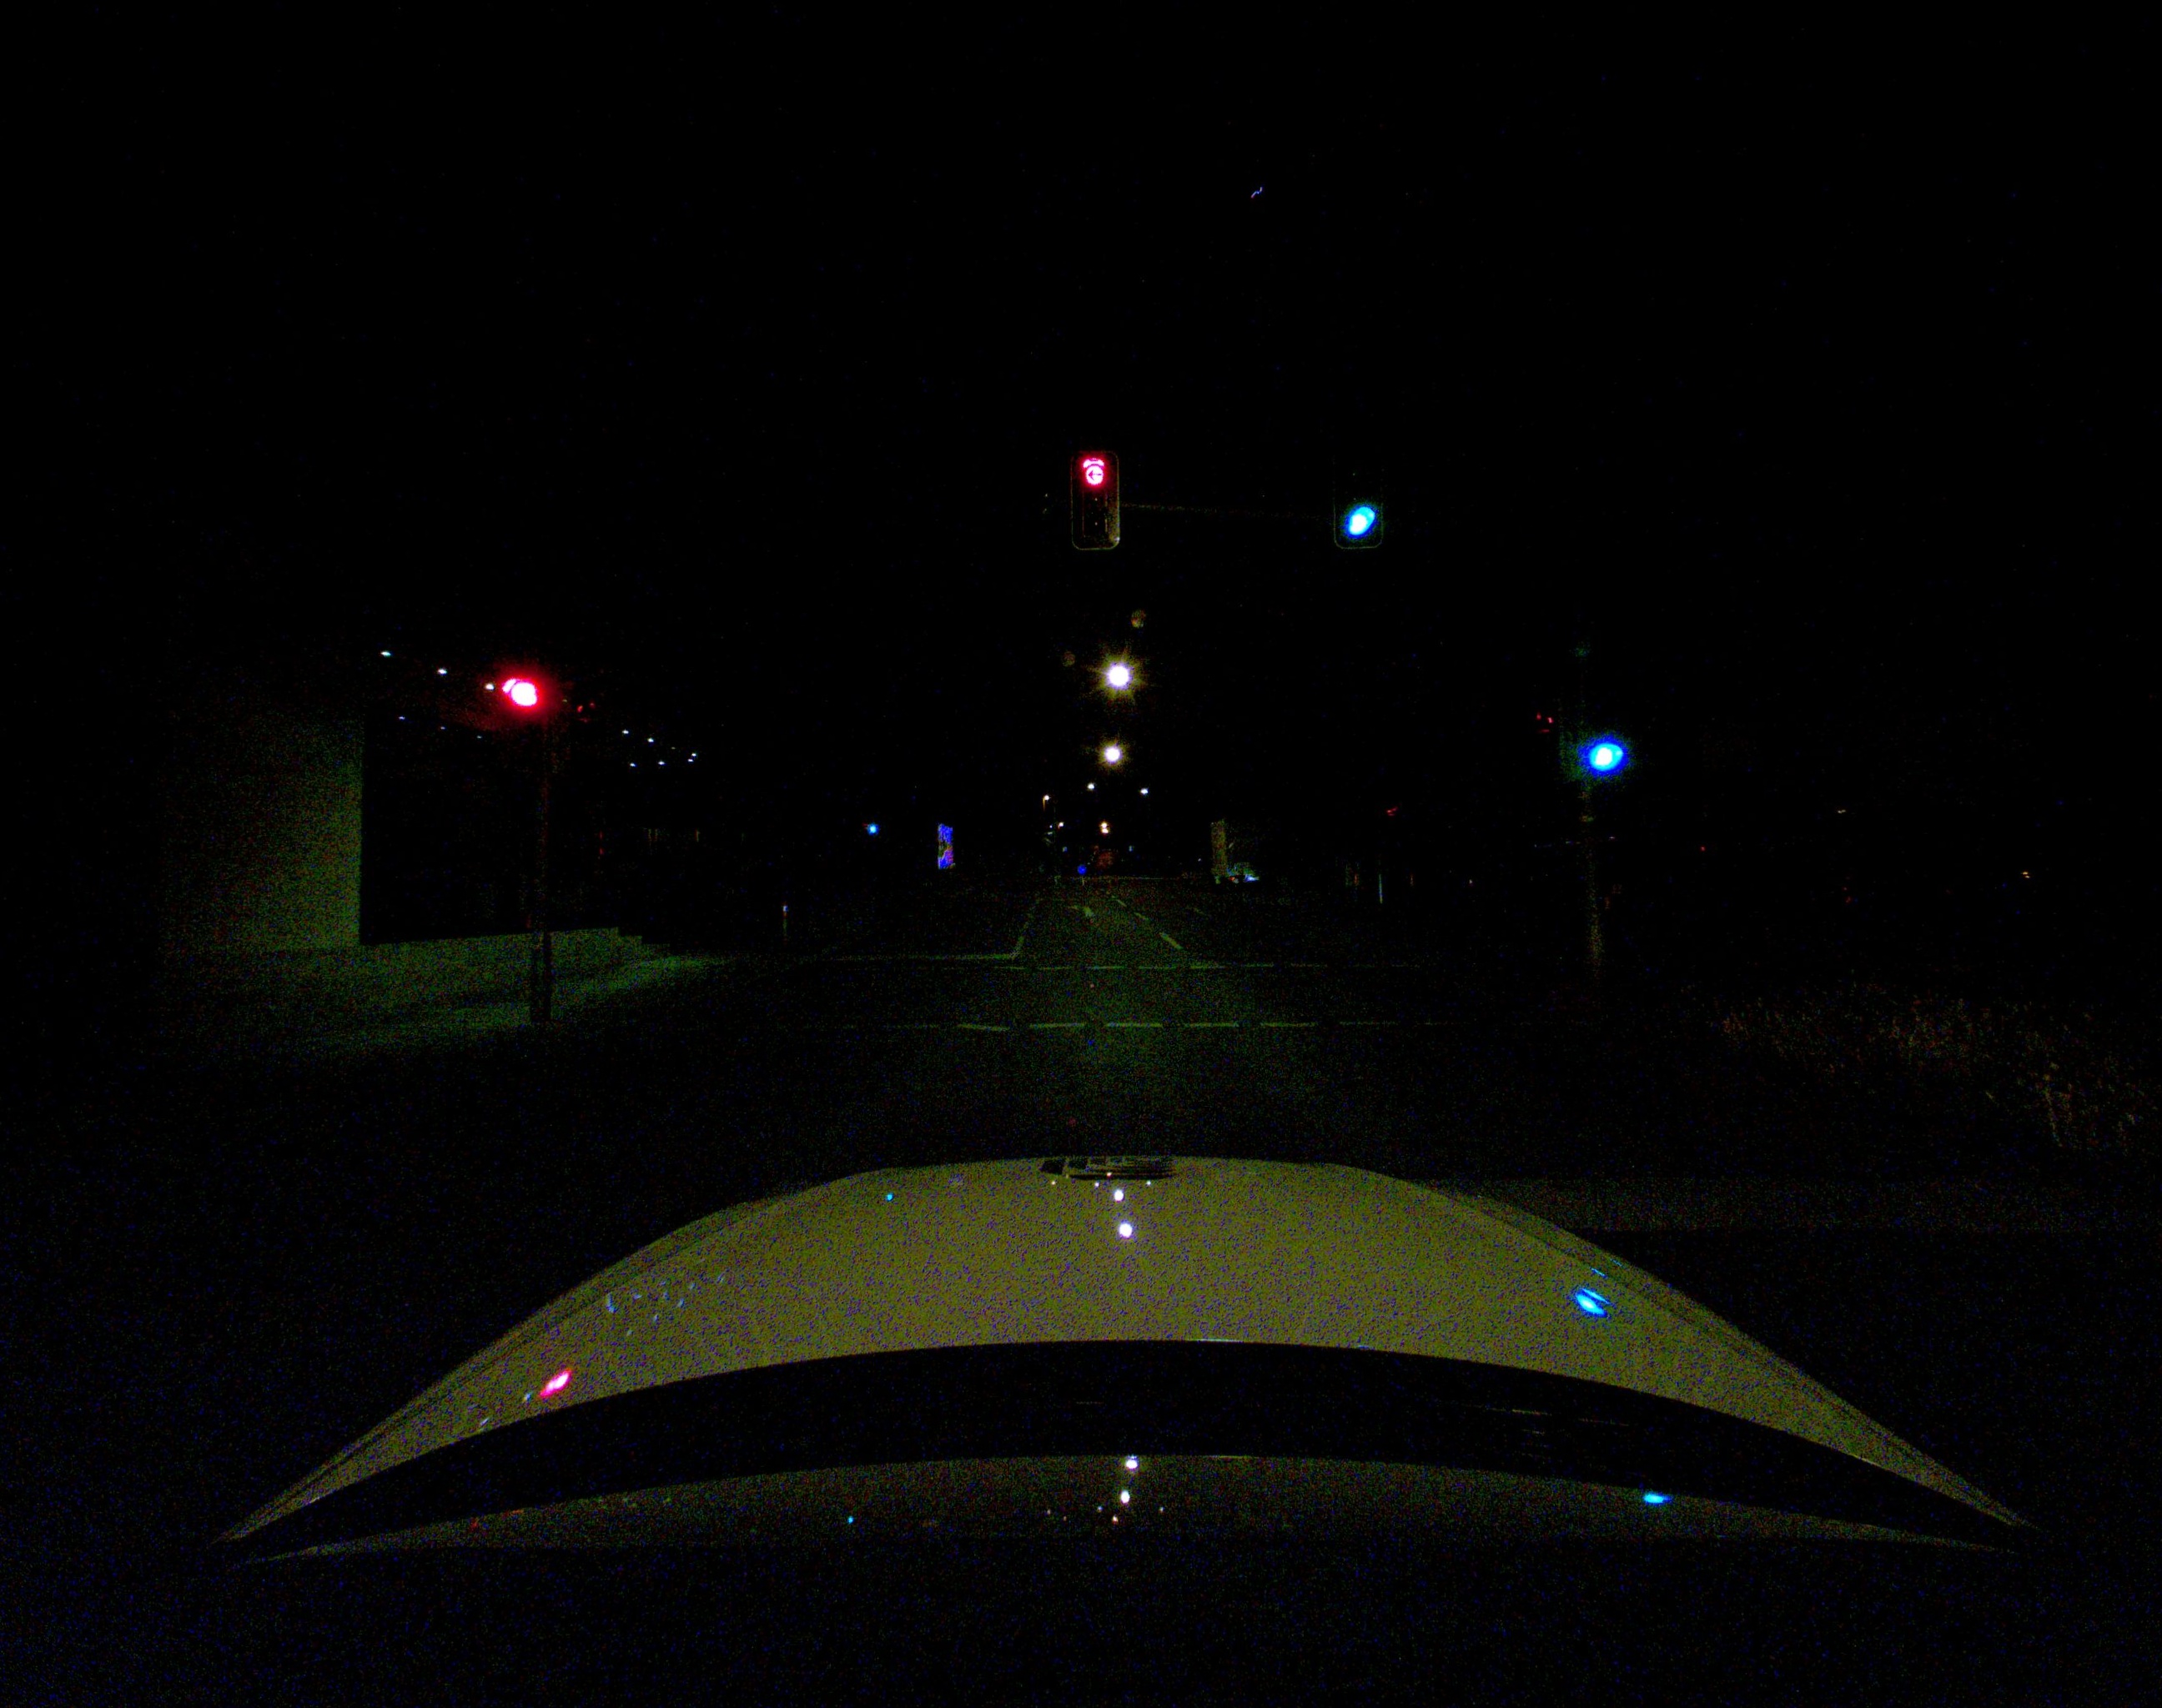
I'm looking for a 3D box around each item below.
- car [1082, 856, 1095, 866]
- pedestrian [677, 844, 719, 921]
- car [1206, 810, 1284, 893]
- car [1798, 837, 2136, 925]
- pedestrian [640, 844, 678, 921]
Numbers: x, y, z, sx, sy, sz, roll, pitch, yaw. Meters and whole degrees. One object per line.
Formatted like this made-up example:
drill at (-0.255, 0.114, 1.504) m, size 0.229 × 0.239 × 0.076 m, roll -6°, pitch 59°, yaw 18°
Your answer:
car at (1.251, 1.174, 134.554) m, size 1.901 × 1.557 × 3.906 m, roll 0°, pitch -1°, yaw 2°
pedestrian at (-9.051, 0.660, 19.248) m, size 0.568 × 1.778 × 0.737 m, roll 1°, pitch -1°, yaw 1°
car at (6.764, -0.077, 34.231) m, size 2.287 × 3.093 × 5.845 m, roll -2°, pitch -1°, yaw 3°
car at (17.457, 0.567, 16.287) m, size 4.342 × 1.560 × 1.807 m, roll -2°, pitch -3°, yaw 8°
pedestrian at (-9.717, 0.652, 18.761) m, size 0.568 × 1.731 × 0.544 m, roll 0°, pitch -1°, yaw 1°
